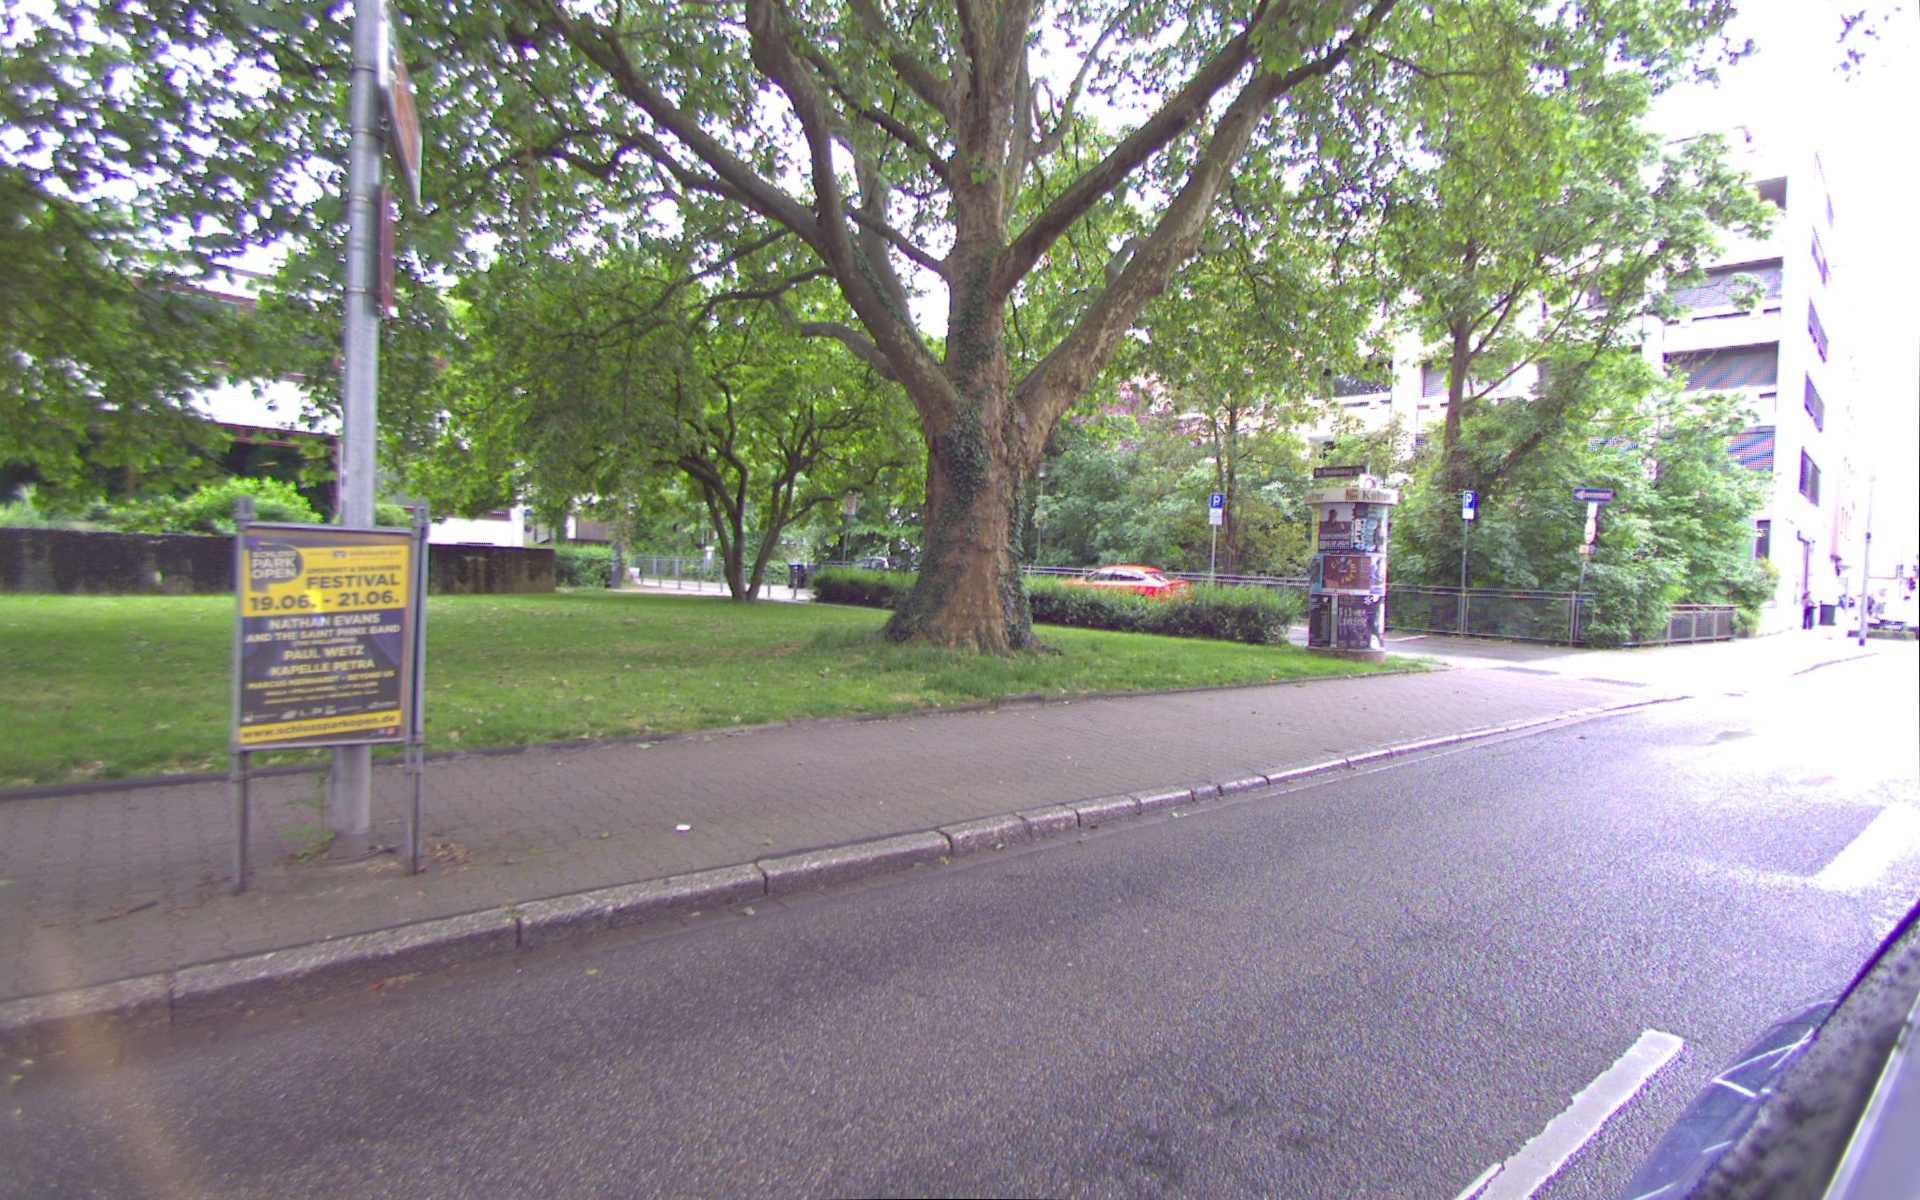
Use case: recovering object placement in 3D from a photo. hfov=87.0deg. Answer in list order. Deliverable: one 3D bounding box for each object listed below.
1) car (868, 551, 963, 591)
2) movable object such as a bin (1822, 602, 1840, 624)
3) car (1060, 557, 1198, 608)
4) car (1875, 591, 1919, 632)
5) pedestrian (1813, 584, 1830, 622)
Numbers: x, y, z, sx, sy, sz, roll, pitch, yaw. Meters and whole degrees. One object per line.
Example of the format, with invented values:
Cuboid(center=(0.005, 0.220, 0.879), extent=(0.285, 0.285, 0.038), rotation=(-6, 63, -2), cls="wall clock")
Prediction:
Cuboid(center=(-1.647, -1.065, 36.676), extent=(3.460, 1.294, 1.426), rotation=(5, 4, 45), cls="car")
Cuboid(center=(41.914, 0.622, 48.706), extent=(0.287, 1.054, 0.556), rotation=(0, 3, -41), cls="movable object such as a bin")
Cuboid(center=(4.876, -0.539, 29.522), extent=(1.551, 1.294, 3.784), rotation=(-1, 4, -44), cls="car")
Cuboid(center=(37.407, 0.457, 39.733), extent=(3.617, 1.449, 1.681), rotation=(0, 5, -41), cls="car")
Cuboid(center=(35.070, 0.129, 41.197), extent=(0.473, 1.549, 0.480), rotation=(0, 0, -41), cls="pedestrian")
